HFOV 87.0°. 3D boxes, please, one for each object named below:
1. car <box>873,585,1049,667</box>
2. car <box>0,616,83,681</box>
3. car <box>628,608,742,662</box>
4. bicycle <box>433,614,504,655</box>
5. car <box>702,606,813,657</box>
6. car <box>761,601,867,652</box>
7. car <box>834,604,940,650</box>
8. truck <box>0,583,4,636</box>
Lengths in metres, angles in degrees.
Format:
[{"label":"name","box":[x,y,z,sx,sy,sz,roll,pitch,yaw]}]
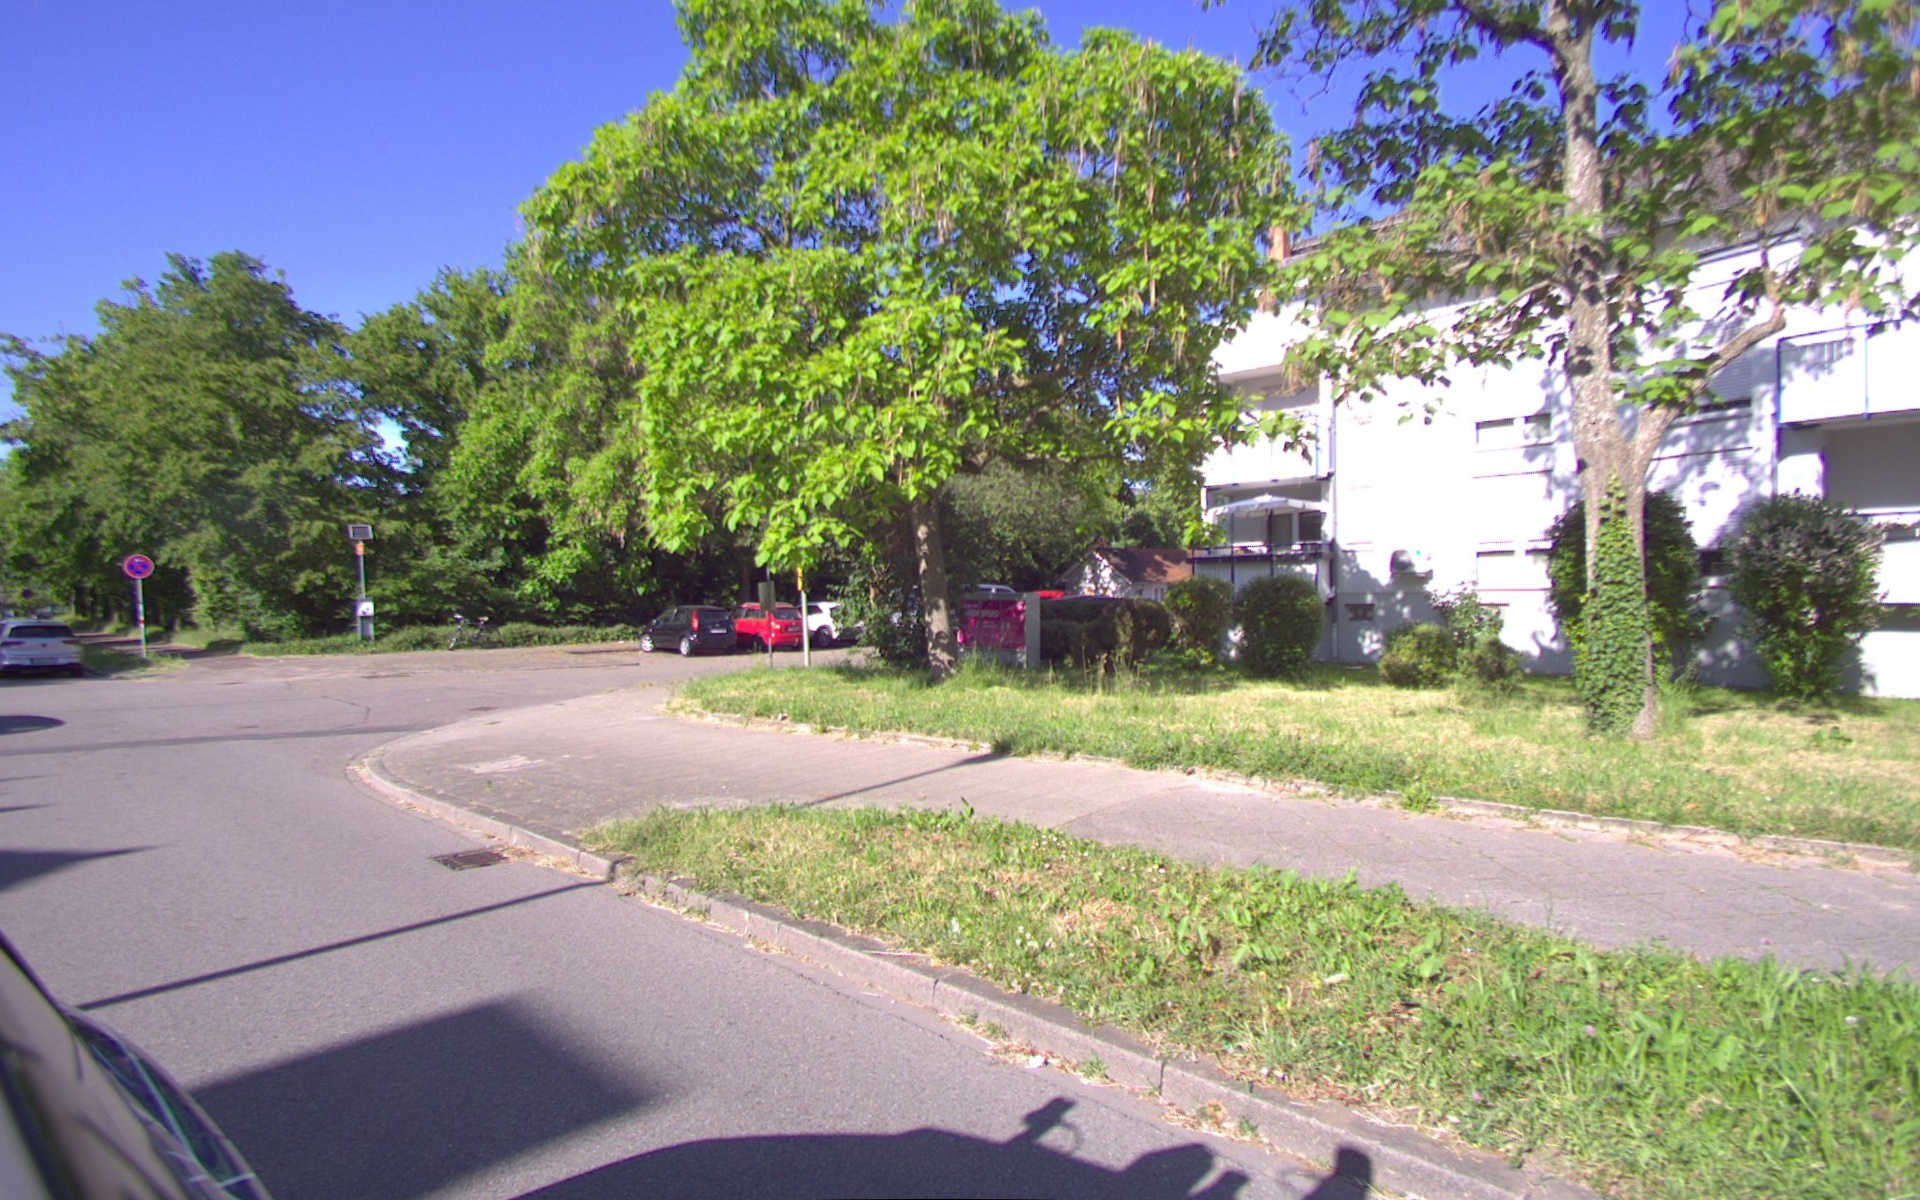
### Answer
[{"label":"car","box":[0.083,0.667,26.870,4.398,1.984,2.071,0,-2,-43]},{"label":"car","box":[-23.903,1.169,25.592,4.180,1.478,1.647,0,-1,35]},{"label":"car","box":[-8.469,1.019,31.010,3.887,1.498,1.651,1,1,44]},{"label":"bicycle","box":[-15.063,1.040,31.034,1.874,1.161,0.762,-1,3,-35]},{"label":"car","box":[-6.612,0.972,32.847,3.887,1.498,1.651,1,1,44]},{"label":"car","box":[-5.122,0.863,35.171,3.887,1.615,1.651,1,1,44]},{"label":"car","box":[-2.648,0.918,36.295,3.887,1.498,1.651,1,1,44]},{"label":"truck","box":[-77.529,0.682,79.845,2.764,4.049,9.632,2,-1,-45]}]
